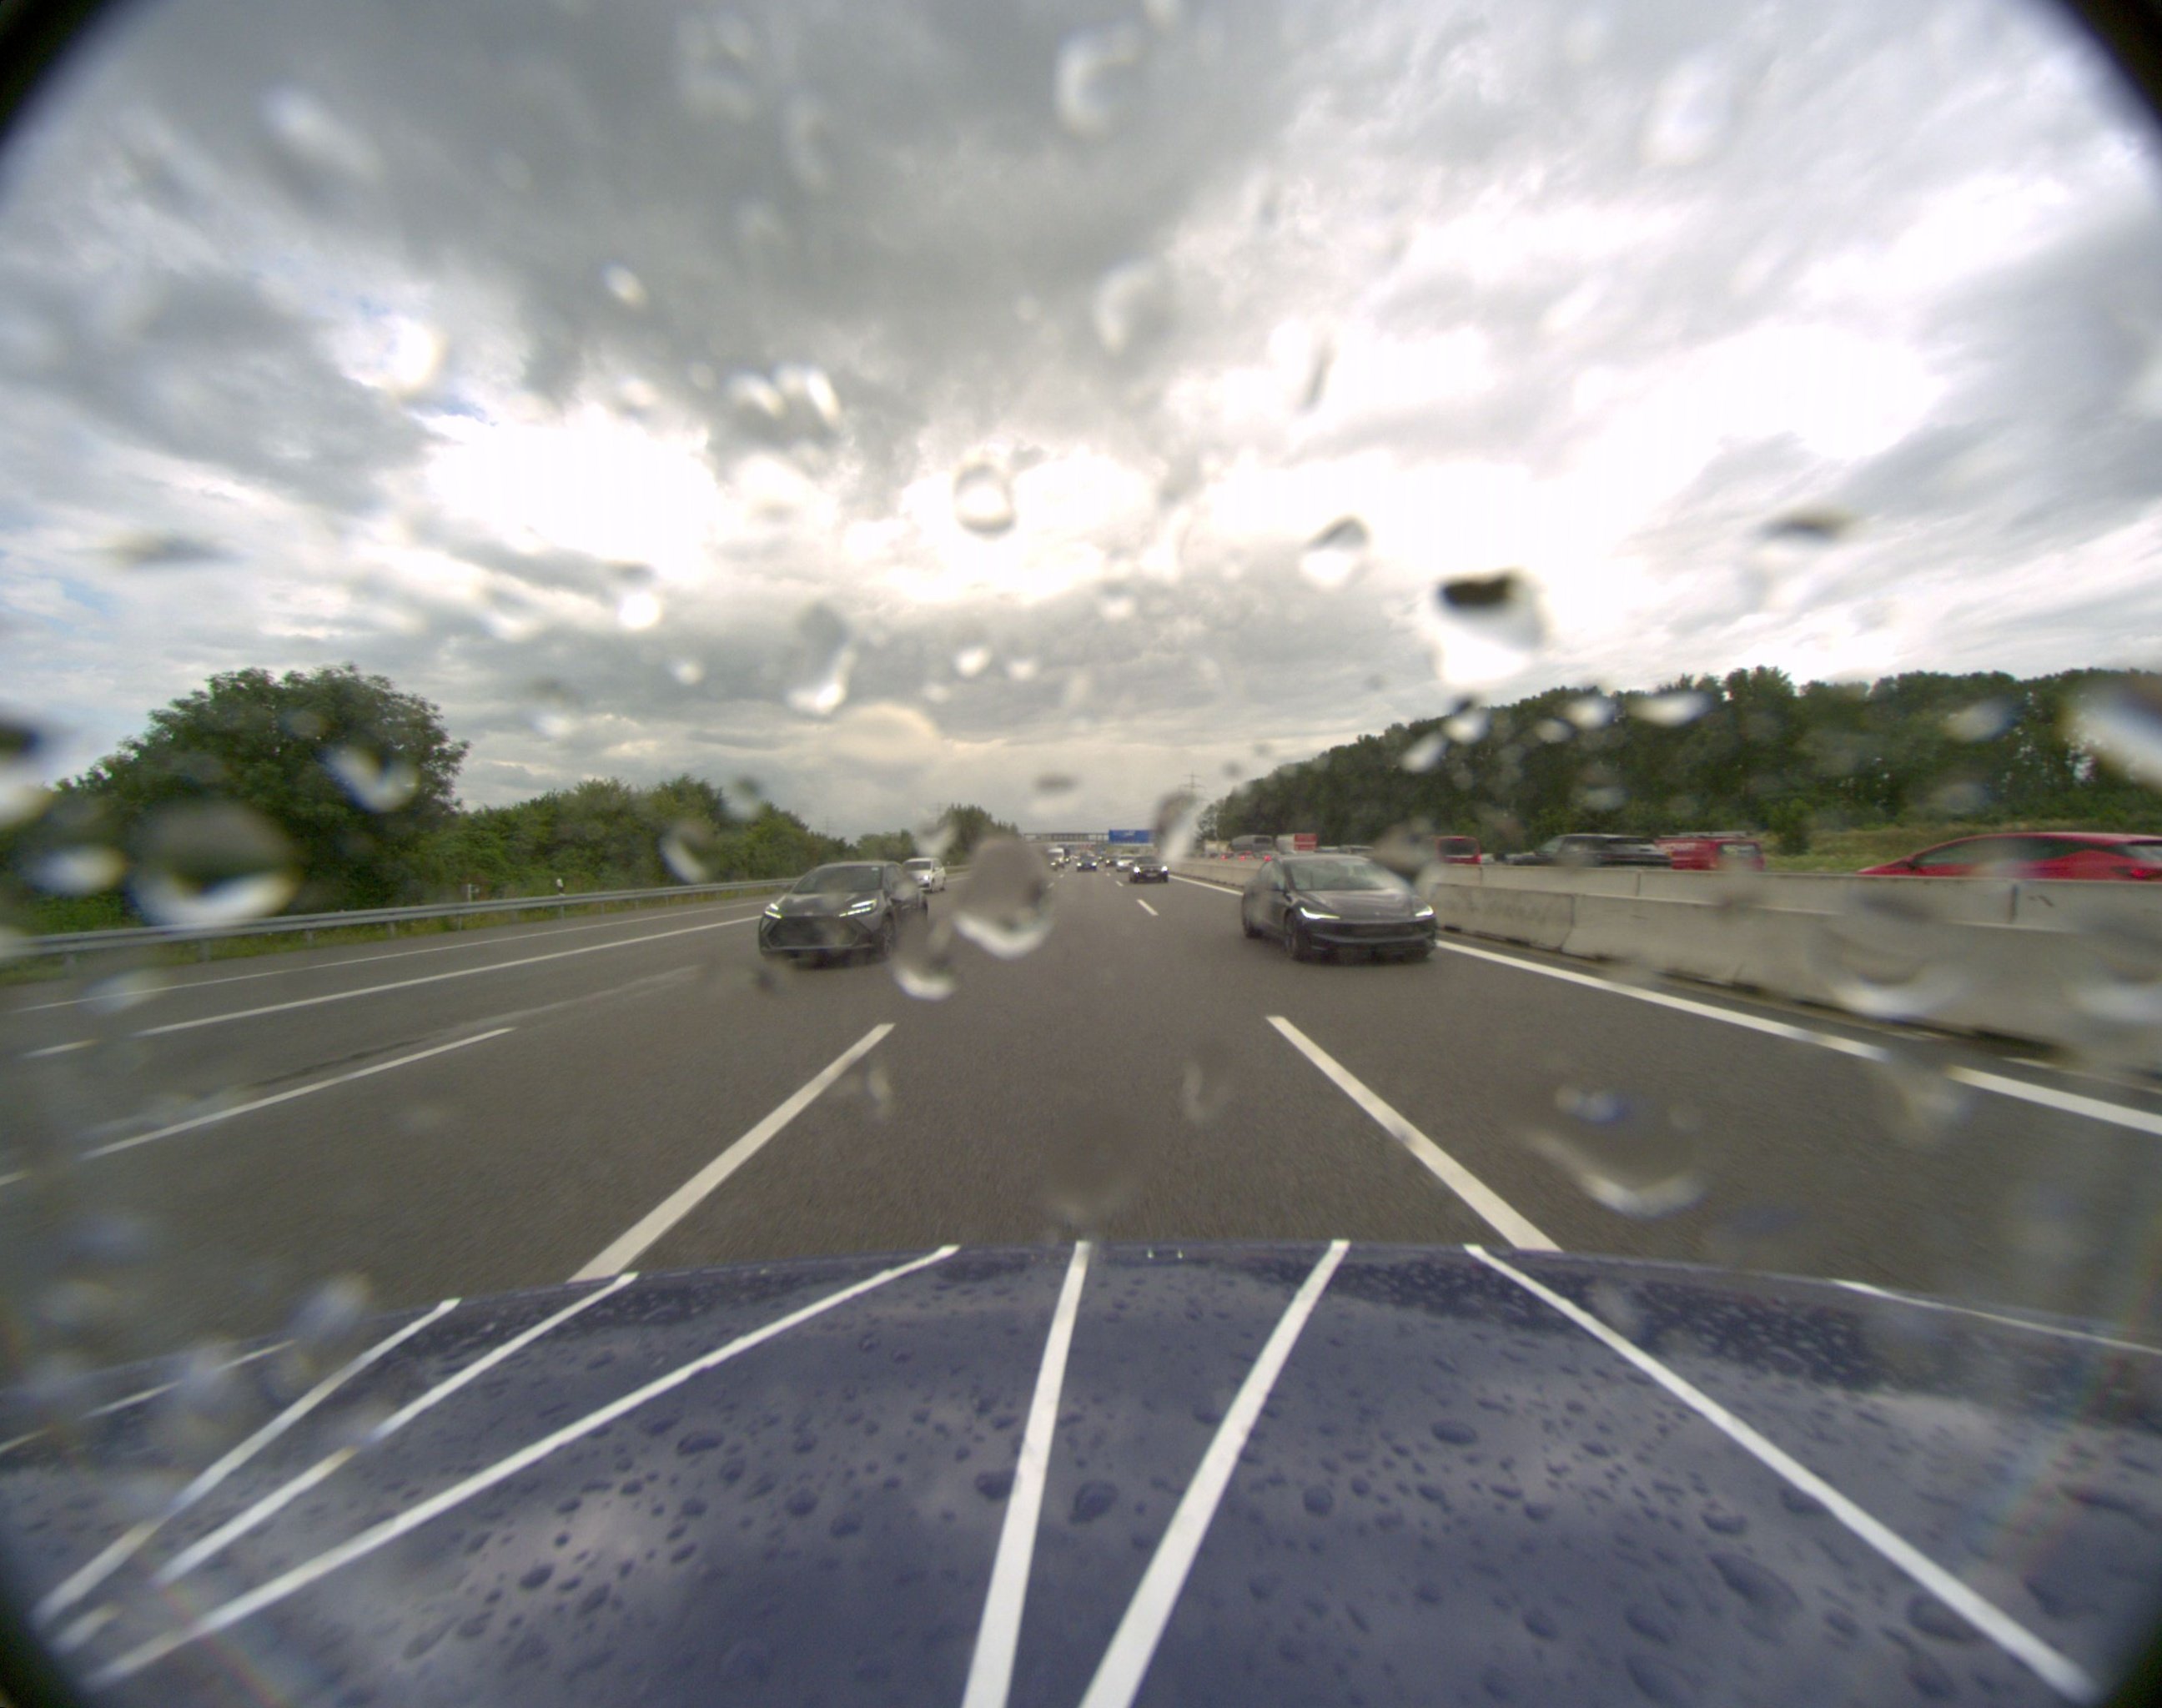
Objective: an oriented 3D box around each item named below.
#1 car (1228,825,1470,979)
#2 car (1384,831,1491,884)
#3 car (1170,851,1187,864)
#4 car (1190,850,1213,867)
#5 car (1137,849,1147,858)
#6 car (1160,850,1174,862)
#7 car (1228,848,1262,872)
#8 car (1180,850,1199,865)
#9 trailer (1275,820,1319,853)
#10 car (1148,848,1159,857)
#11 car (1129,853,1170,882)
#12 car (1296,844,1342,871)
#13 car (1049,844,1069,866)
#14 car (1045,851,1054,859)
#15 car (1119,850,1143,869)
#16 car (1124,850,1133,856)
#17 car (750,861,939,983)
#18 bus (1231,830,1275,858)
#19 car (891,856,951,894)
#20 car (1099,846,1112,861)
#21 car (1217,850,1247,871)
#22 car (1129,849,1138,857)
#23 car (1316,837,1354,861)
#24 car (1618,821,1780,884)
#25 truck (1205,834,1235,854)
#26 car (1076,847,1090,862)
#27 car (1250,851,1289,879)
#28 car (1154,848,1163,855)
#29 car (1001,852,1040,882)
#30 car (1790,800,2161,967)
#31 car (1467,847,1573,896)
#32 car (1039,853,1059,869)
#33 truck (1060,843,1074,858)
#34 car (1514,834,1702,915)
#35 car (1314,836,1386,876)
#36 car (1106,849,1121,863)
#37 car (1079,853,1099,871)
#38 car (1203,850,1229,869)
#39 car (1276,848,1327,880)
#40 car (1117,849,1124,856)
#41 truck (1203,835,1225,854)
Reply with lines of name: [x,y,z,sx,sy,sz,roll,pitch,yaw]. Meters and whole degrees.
car: [3.740,0.571,11.785,1.998,1.810,5.163,-2,0,1]
car: [14.846,0.120,32.051,1.998,2.002,5.418,-2,0,1]
car: [15.009,0.486,117.546,1.998,1.956,4.696,-2,0,1]
car: [14.549,0.505,91.726,1.998,1.956,4.696,-2,0,1]
car: [14.726,-0.187,183.039,1.999,2.002,4.264,-2,0,0]
car: [15.227,0.347,135.131,1.998,1.956,4.696,-2,0,1]
car: [14.671,0.520,68.228,1.998,2.002,4.696,-2,0,1]
car: [14.681,0.461,103.138,1.998,1.956,4.696,-2,0,1]
trailer: [26.560,-2.057,93.739,2.867,3.740,9.160,-1,0,1]
car: [15.019,-0.257,157.288,1.808,1.709,4.000,-2,0,1]
car: [3.510,0.672,39.543,1.922,1.407,4.000,-1,0,2]
car: [18.601,0.263,59.568,1.998,2.002,4.972,-2,0,1]
car: [-2.654,0.075,91.628,2.145,2.486,5.447,-2,0,1]
car: [-7.560,0.252,183.774,1.999,2.002,4.354,-2,0,-1]
car: [4.302,0.474,65.489,1.822,1.565,4.000,-2,0,0]
car: [14.661,-0.209,234.551,1.999,1.844,4.634,-2,0,-2]
car: [-3.760,0.974,12.997,1.785,1.603,4.597,-2,0,-1]
bus: [22.410,-1.292,99.726,2.694,3.365,13.997,-2,0,1]
car: [-7.418,0.950,35.747,1.815,1.589,4.695,-2,0,-1]
car: [4.396,-0.080,136.585,2.145,2.486,5.448,-2,0,2]
car: [14.707,0.617,74.171,1.998,1.956,4.696,-2,0,1]
car: [15.160,-0.280,220.466,1.999,2.002,5.181,-2,0,-1]
car: [22.519,-0.438,67.594,1.998,2.002,4.000,-3,0,1]
car: [21.952,-0.066,27.290,1.998,2.002,4.686,-2,0,1]
truck: [26.726,-1.862,146.698,3.156,3.723,13.298,-2,0,0]
car: [0.315,0.044,129.381,2.145,2.486,5.448,-2,0,1]
car: [14.688,0.833,59.370,1.998,2.002,4.349,-2,0,1]
car: [18.703,-0.582,183.900,1.871,1.651,4.027,-2,0,0]
car: [-3.506,0.744,44.663,1.711,1.621,4.457,-2,0,2]
car: [13.895,0.323,11.469,1.998,2.002,4.686,-2,0,1]
car: [18.704,0.686,32.639,1.998,1.888,4.474,-2,0,1]
car: [-3.148,0.650,75.470,1.945,1.482,4.774,-2,0,-2]
truck: [-2.607,-0.626,139.072,2.391,2.726,6.592,-2,0,-2]
car: [14.030,0.483,20.630,1.998,1.892,4.503,-2,0,1]
car: [14.669,0.082,41.772,1.998,2.002,5.418,-2,0,1]
car: [3.901,0.213,90.740,1.711,1.621,4.000,-2,0,2]
car: [0.805,0.763,70.993,1.711,1.562,4.347,-2,0,2]
car: [14.571,0.593,82.205,1.998,1.956,4.696,-2,0,1]
car: [15.016,0.626,51.989,1.998,2.002,4.972,-2,0,1]
car: [13.383,-0.534,257.202,1.999,2.002,4.763,-2,0,0]
truck: [26.726,-1.906,153.019,3.158,3.690,6.318,-2,0,1]
